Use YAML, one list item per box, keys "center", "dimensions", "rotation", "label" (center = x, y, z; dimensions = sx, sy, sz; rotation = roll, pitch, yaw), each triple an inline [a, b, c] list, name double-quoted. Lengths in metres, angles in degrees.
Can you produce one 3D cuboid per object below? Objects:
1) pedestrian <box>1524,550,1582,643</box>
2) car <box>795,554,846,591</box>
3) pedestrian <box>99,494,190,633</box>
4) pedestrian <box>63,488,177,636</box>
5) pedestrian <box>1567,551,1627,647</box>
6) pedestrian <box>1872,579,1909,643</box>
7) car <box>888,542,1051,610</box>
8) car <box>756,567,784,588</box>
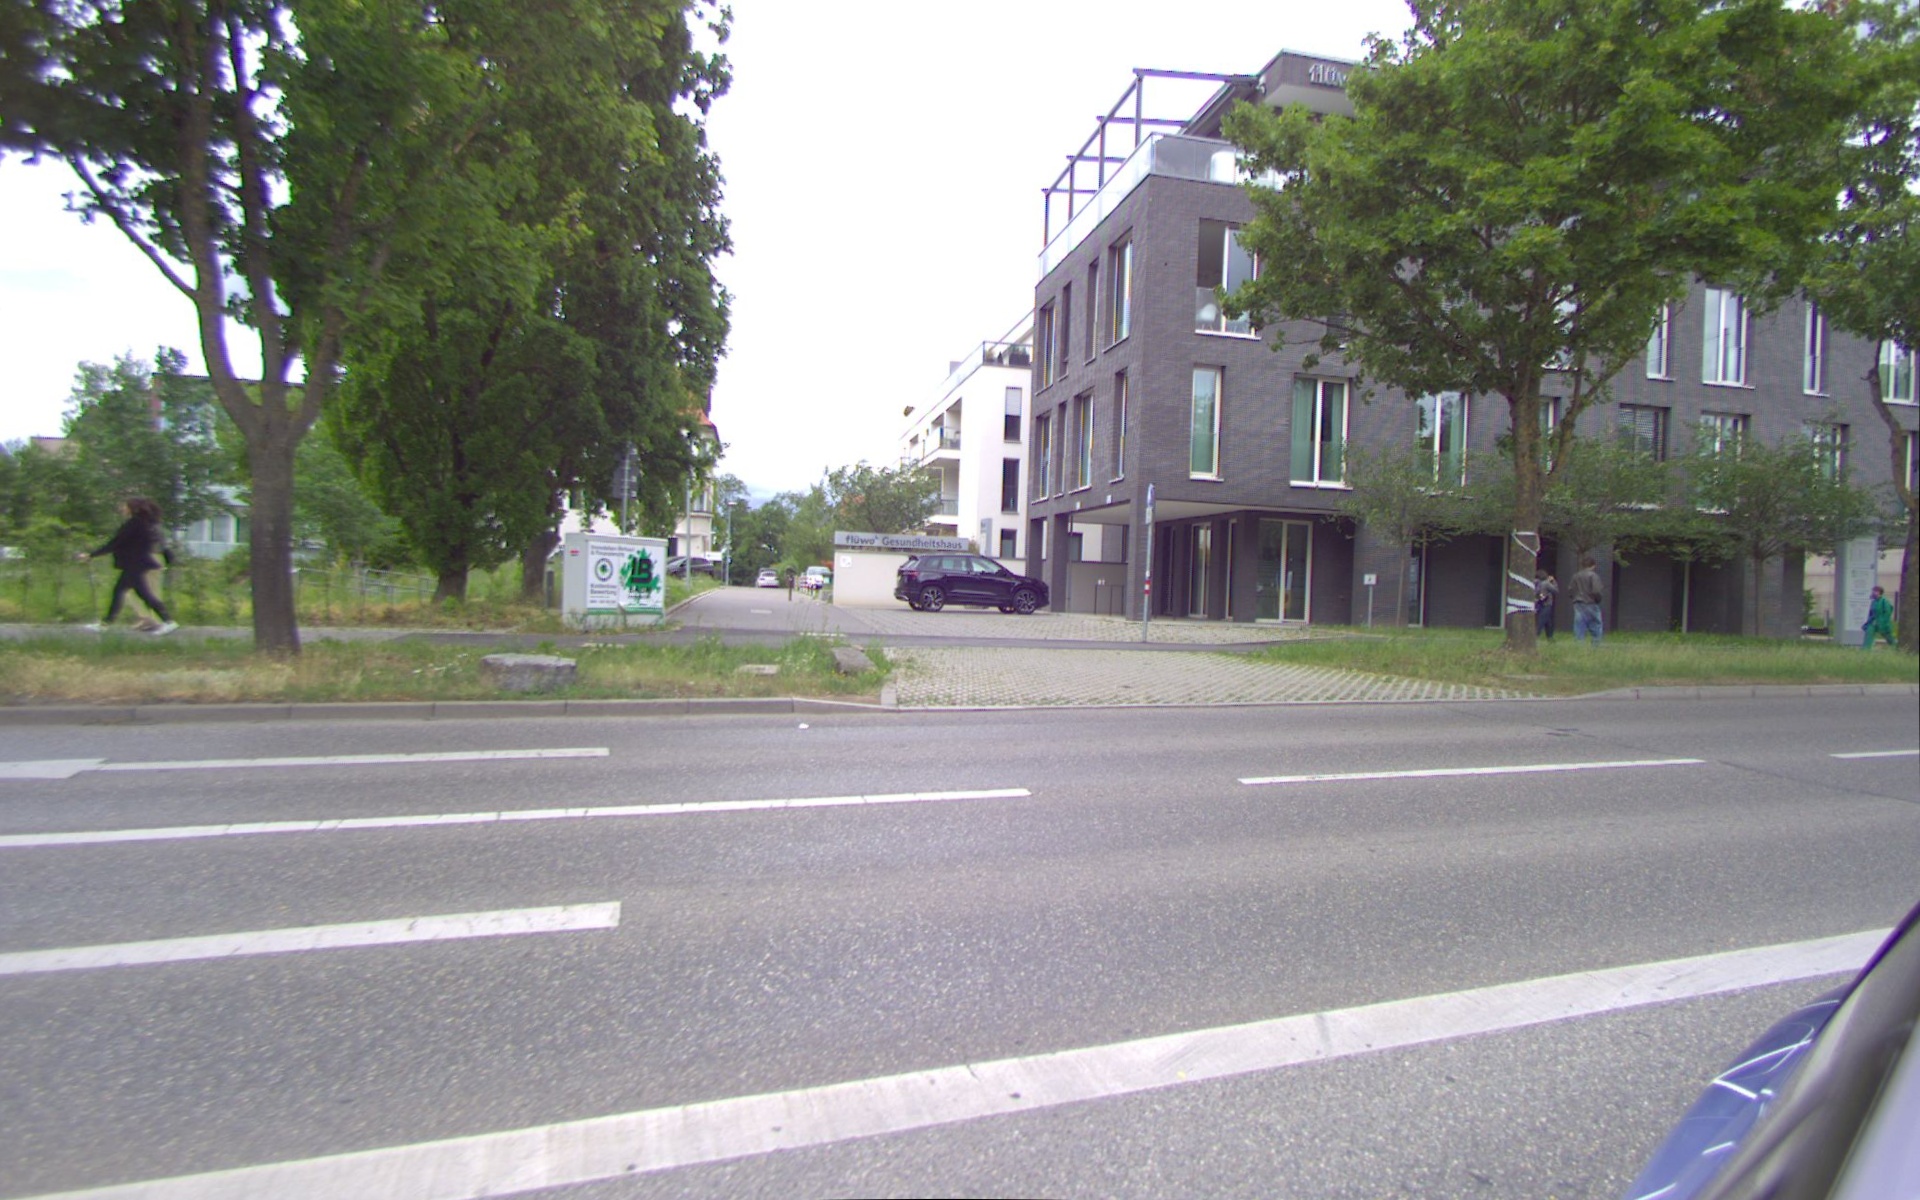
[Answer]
- center: [11.562, -0.068, 19.754]
  dimensions: [0.683, 1.768, 0.695]
  rotation: [0, 0, -20]
  label: "pedestrian"
- center: [-6.589, -1.245, 47.467]
  dimensions: [1.838, 1.660, 3.836]
  rotation: [0, 0, -16]
  label: "car"
- center: [-10.416, -0.454, 12.952]
  dimensions: [0.816, 1.717, 0.617]
  rotation: [0, 0, -31]
  label: "pedestrian"
- center: [-10.195, -0.450, 12.318]
  dimensions: [0.983, 1.717, 0.608]
  rotation: [0, 0, -31]
  label: "pedestrian"
- center: [12.009, -0.022, 19.091]
  dimensions: [0.635, 1.768, 0.695]
  rotation: [0, 0, -20]
  label: "pedestrian"
- center: [20.225, 0.229, 21.997]
  dimensions: [0.648, 1.374, 0.534]
  rotation: [0, 0, -42]
  label: "pedestrian"
- center: [0.228, -0.633, 27.736]
  dimensions: [4.038, 1.621, 2.004]
  rotation: [2, -1, -13]
  label: "car"
- center: [-14.928, -1.768, 79.682]
  dimensions: [1.917, 1.571, 3.970]
  rotation: [0, 0, -8]
  label: "car"
